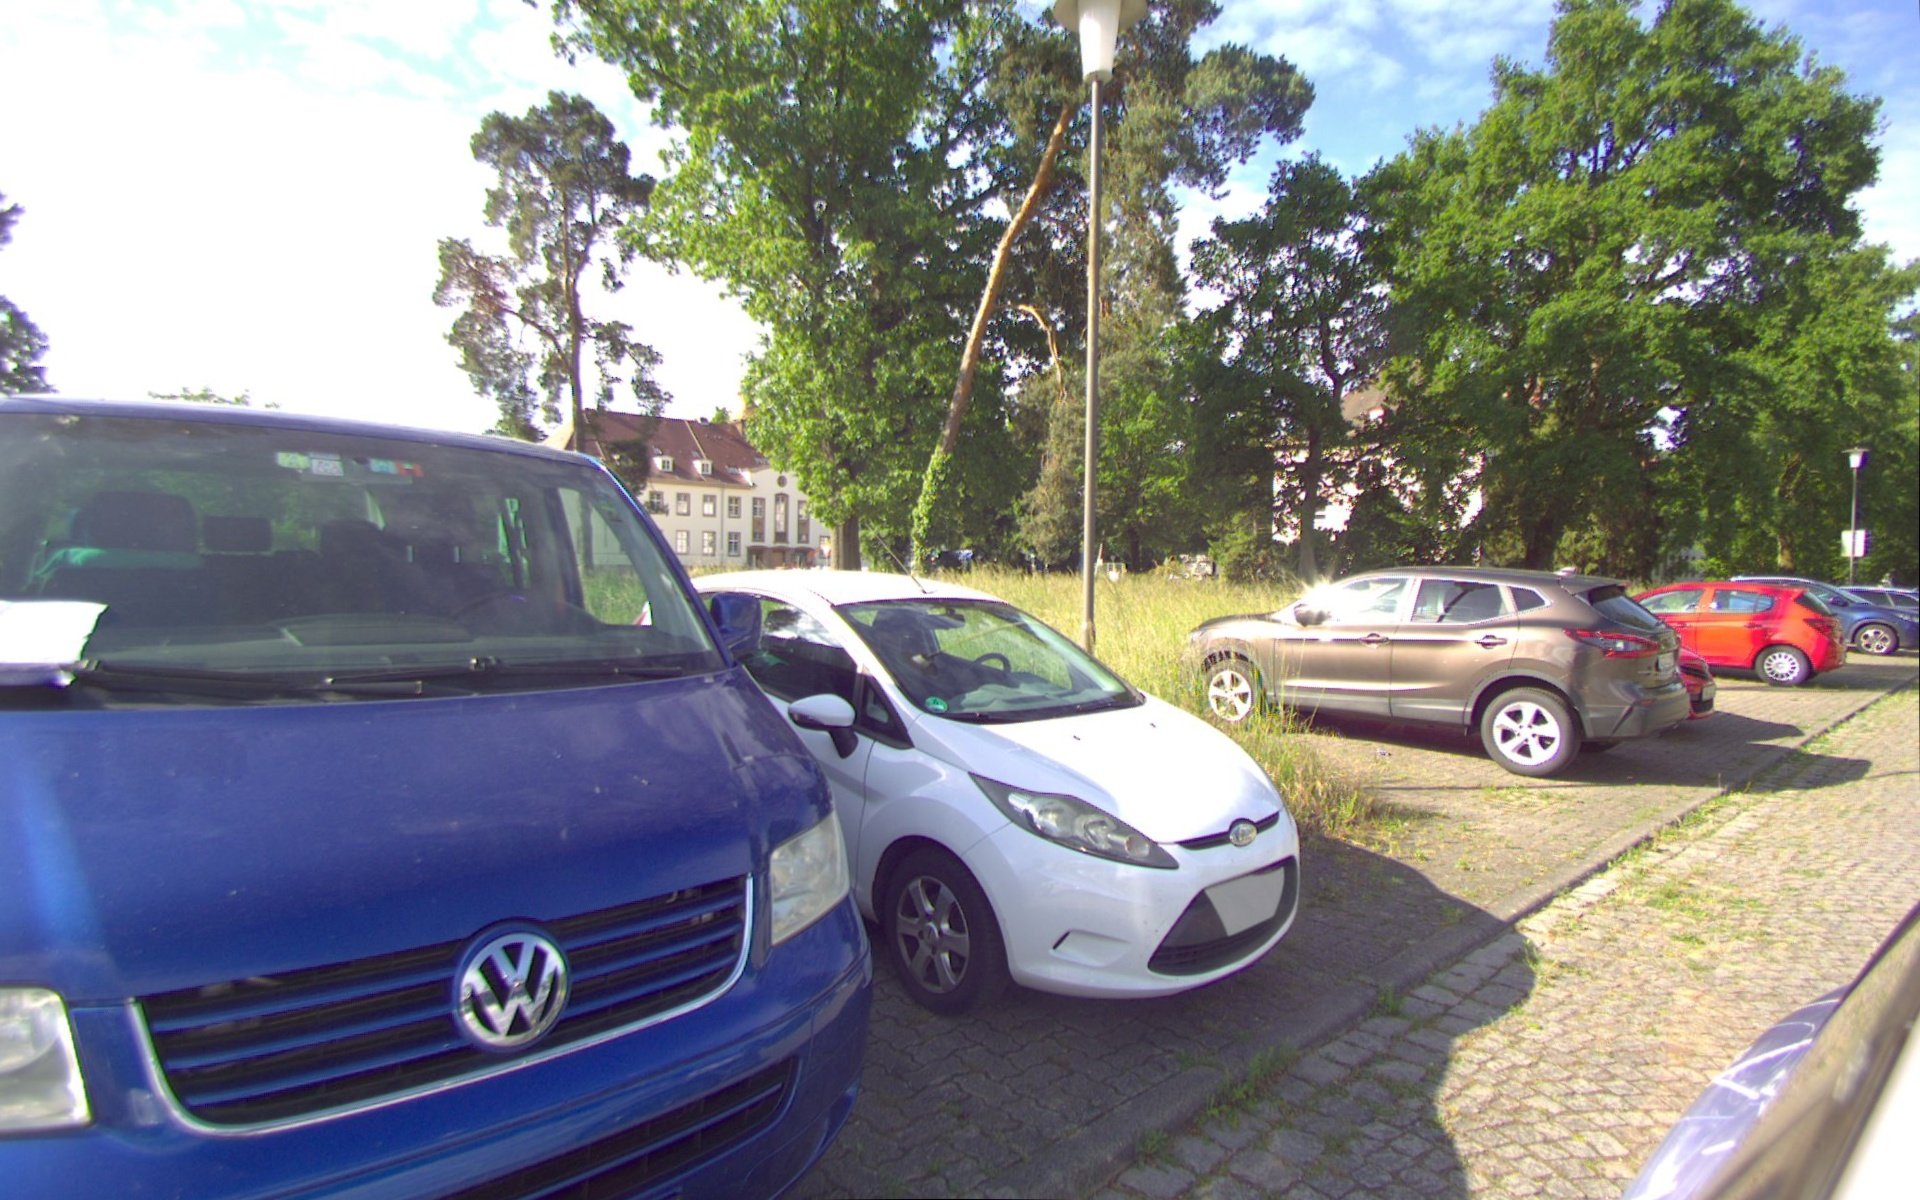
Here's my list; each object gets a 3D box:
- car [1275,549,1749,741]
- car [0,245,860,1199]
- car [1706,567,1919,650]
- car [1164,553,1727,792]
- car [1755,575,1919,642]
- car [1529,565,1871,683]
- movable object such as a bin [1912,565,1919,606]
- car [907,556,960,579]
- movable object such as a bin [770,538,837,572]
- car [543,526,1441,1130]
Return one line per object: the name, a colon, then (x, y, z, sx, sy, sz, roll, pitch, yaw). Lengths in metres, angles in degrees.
car: (5.939, 0.307, 11.282, 1.903, 1.617, 4.231, -2, 5, -43)
car: (-2.556, 0.293, 3.750, 1.965, 1.958, 4.708, -1, 4, -41)
car: (19.421, 0.138, 22.613, 1.821, 1.576, 4.094, 0, 4, -42)
car: (4.187, 0.413, 9.242, 1.903, 1.617, 4.230, -2, 4, -43)
car: (22.906, 0.201, 25.619, 1.754, 1.440, 4.094, 0, 4, -42)
car: (11.688, 0.283, 16.189, 1.821, 1.477, 4.094, 0, 4, -42)
movable object such as a bin: (49.479, -0.651, 48.755, 1.959, 2.039, 4.881, 0, 1, -28)
car: (-2.295, -2.846, 88.557, 4.318, 1.963, 1.905, -2, 1, -40)
movable object such as a bin: (-16.142, -4.592, 104.426, 6.336, 3.342, 2.863, -1, 1, 6)
car: (-0.309, 0.479, 4.978, 1.906, 1.596, 4.406, -1, 4, -41)
